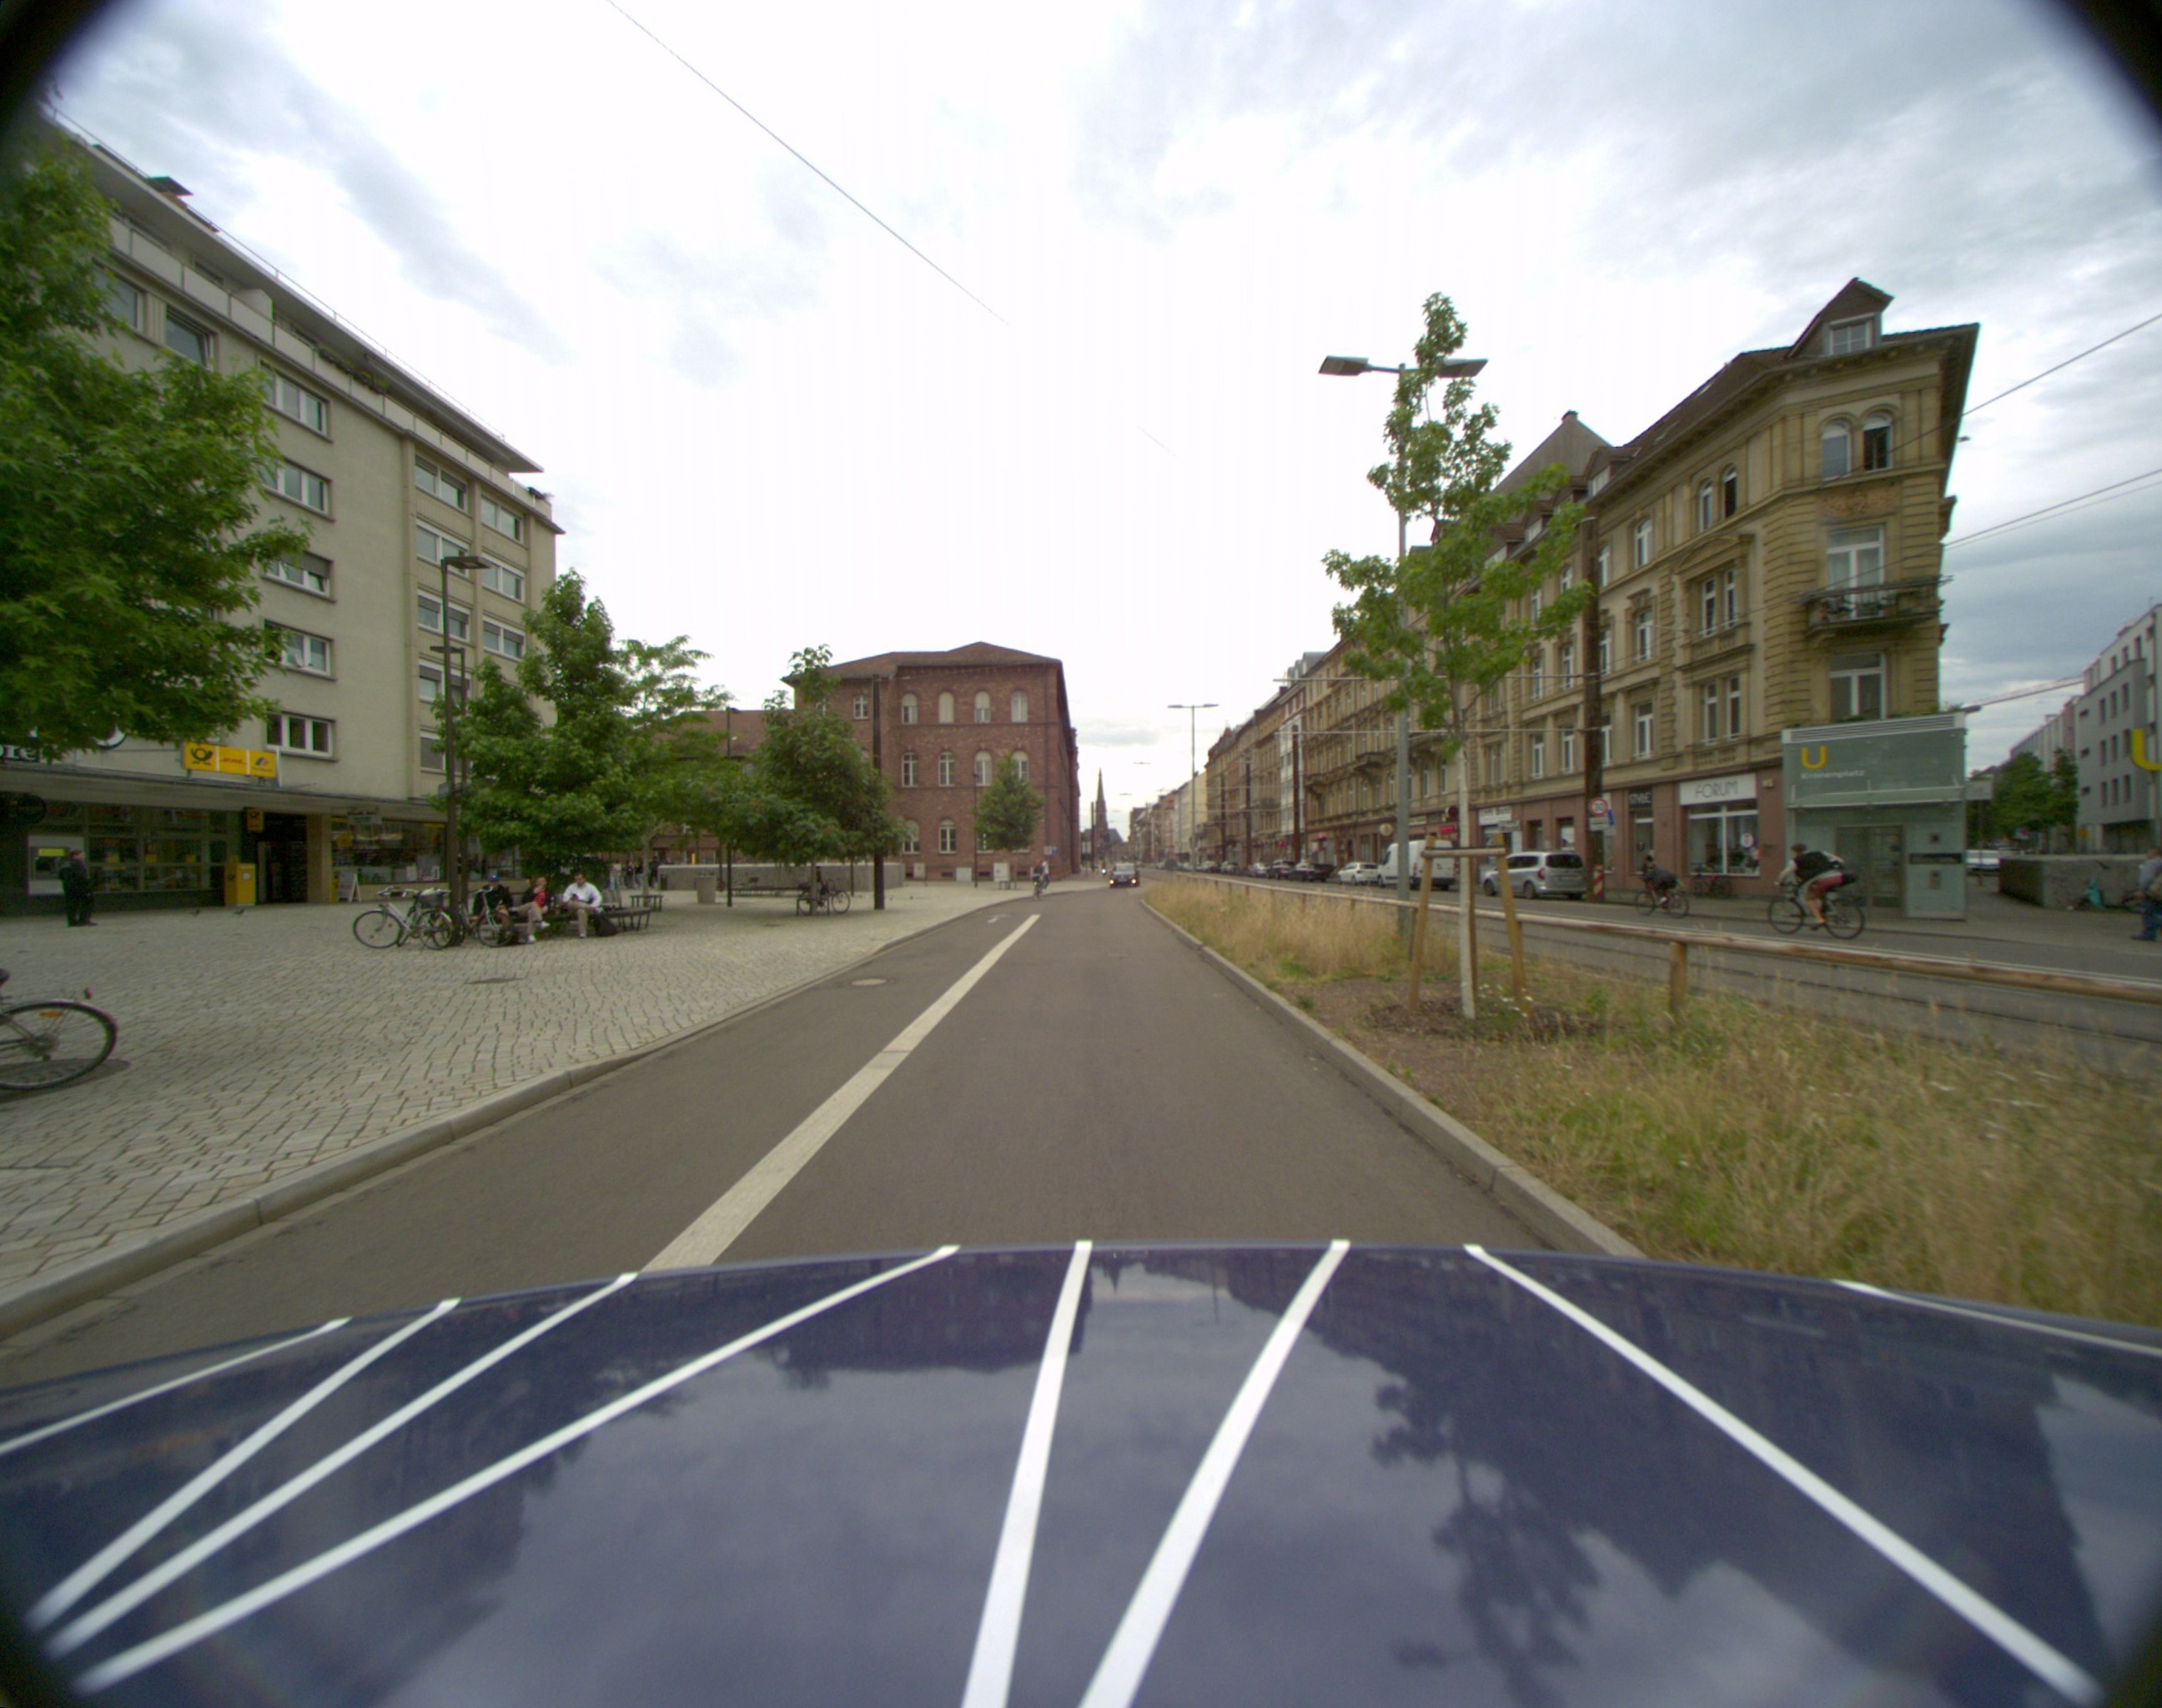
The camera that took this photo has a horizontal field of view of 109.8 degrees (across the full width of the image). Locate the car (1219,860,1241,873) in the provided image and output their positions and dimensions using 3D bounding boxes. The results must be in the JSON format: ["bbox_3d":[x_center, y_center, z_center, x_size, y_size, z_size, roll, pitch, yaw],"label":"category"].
[{"bbox_3d":[17.968,1.475,91.811,1.748,1.524,4.226,0,-1,0],"label":"car"}]

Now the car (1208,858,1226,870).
[{"bbox_3d":[18.227,1.353,102.076,1.748,1.479,3.921,0,-1,2],"label":"car"}]

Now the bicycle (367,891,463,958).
[{"bbox_3d":[-11.871,1.238,13.545,1.602,1.104,0.478,0,0,16],"label":"bicycle"}]

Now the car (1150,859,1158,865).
[{"bbox_3d":[18.945,2.149,197.512,1.867,1.553,4.000,1,0,1],"label":"car"}]

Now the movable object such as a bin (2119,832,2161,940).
[{"bbox_3d":[20.335,0.588,13.696,1.033,1.970,1.618,0,2,7],"label":"movable object such as a bin"}]

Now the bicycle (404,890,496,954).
[{"bbox_3d":[-11.613,1.235,13.980,1.602,1.104,0.478,0,0,16],"label":"bicycle"}]

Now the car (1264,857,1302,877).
[{"bbox_3d":[17.425,1.127,65.773,1.818,1.679,5.031,0,-1,-2],"label":"car"}]

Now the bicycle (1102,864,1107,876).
[{"bbox_3d":[2.441,1.613,78.014,0.472,1.151,2.273,-1,0,1],"label":"bicycle"}]

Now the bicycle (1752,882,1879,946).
[{"bbox_3d":[13.418,1.063,13.970,0.477,1.015,1.912,0,0,0],"label":"bicycle"}]

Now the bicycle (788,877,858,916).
[{"bbox_3d":[-7.867,1.291,23.200,1.917,1.116,0.646,-2,0,12],"label":"bicycle"}]

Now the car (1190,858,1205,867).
[{"bbox_3d":[18.591,1.395,121.162,1.748,1.456,4.046,0,-1,0],"label":"car"}]

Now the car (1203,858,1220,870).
[{"bbox_3d":[18.404,1.424,107.068,1.748,1.662,4.046,0,-1,0],"label":"car"}]

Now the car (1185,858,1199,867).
[{"bbox_3d":[18.369,1.405,125.813,1.828,1.512,4.546,0,-1,1],"label":"car"}]

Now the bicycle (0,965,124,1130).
[{"bbox_3d":[-7.508,1.317,4.779,0.658,0.972,1.758,-1,0,29],"label":"bicycle"}]

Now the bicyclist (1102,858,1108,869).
[{"bbox_3d":[2.467,0.979,77.997,0.587,1.164,0.662,-1,0,0],"label":"bicyclist"}]

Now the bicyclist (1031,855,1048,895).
[{"bbox_3d":[-1.787,0.898,32.837,0.570,1.674,0.794,-1,0,9],"label":"bicyclist"}]

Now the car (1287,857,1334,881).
[{"bbox_3d":[17.102,1.059,56.805,1.924,1.679,5.052,1,0,-1],"label":"car"}]

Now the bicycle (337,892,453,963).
[{"bbox_3d":[-11.774,1.242,13.045,2.037,1.104,0.478,0,0,16],"label":"bicycle"}]

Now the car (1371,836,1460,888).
[{"bbox_3d":[17.248,0.406,39.507,2.058,2.472,5.665,1,0,0],"label":"car"}]

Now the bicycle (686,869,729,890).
[{"bbox_3d":[-19.758,1.361,40.255,2.029,1.058,0.470,1,0,0],"label":"bicycle"}]

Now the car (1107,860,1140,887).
[{"bbox_3d":[2.604,1.197,47.139,1.747,1.538,3.650,-1,0,-1],"label":"car"}]

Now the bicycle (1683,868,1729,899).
[{"bbox_3d":[20.677,0.972,25.168,0.340,0.953,1.688,-2,0,8],"label":"bicycle"}]

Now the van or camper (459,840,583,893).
[{"bbox_3d":[-31.379,0.647,42.928,1.998,2.703,6.561,-2,0,1],"label":"van or camper"}]

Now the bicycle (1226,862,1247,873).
[{"bbox_3d":[18.002,1.555,87.849,2.287,1.196,0.547,-1,0,1],"label":"bicycle"}]

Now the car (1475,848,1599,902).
[{"bbox_3d":[17.115,0.752,28.832,1.908,1.853,4.520,1,0,-1],"label":"car"}]

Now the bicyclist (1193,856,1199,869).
[{"bbox_3d":[16.094,1.200,106.241,0.646,1.872,1.028,-2,0,2],"label":"bicyclist"}]

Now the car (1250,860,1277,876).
[{"bbox_3d":[17.671,1.326,73.705,1.748,1.479,3.920,0,-1,0],"label":"car"}]

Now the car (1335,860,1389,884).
[{"bbox_3d":[17.418,1.081,47.347,1.775,1.414,4.165,1,0,-1],"label":"car"}]

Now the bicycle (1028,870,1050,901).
[{"bbox_3d":[-1.792,1.350,32.829,0.524,1.253,1.943,-1,0,10],"label":"bicycle"}]

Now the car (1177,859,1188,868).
[{"bbox_3d":[19.465,1.854,145.629,1.707,1.746,3.920,0,0,2],"label":"car"}]

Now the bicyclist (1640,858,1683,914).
[{"bbox_3d":[14.856,0.806,19.449,0.480,1.398,0.812,0,0,-1],"label":"bicyclist"}]

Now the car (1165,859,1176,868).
[{"bbox_3d":[19.534,2.051,166.724,1.928,1.722,3.827,-2,0,0],"label":"car"}]

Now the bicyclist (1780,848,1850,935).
[{"bbox_3d":[13.409,0.667,13.896,0.492,1.531,0.812,0,0,-1],"label":"bicyclist"}]
